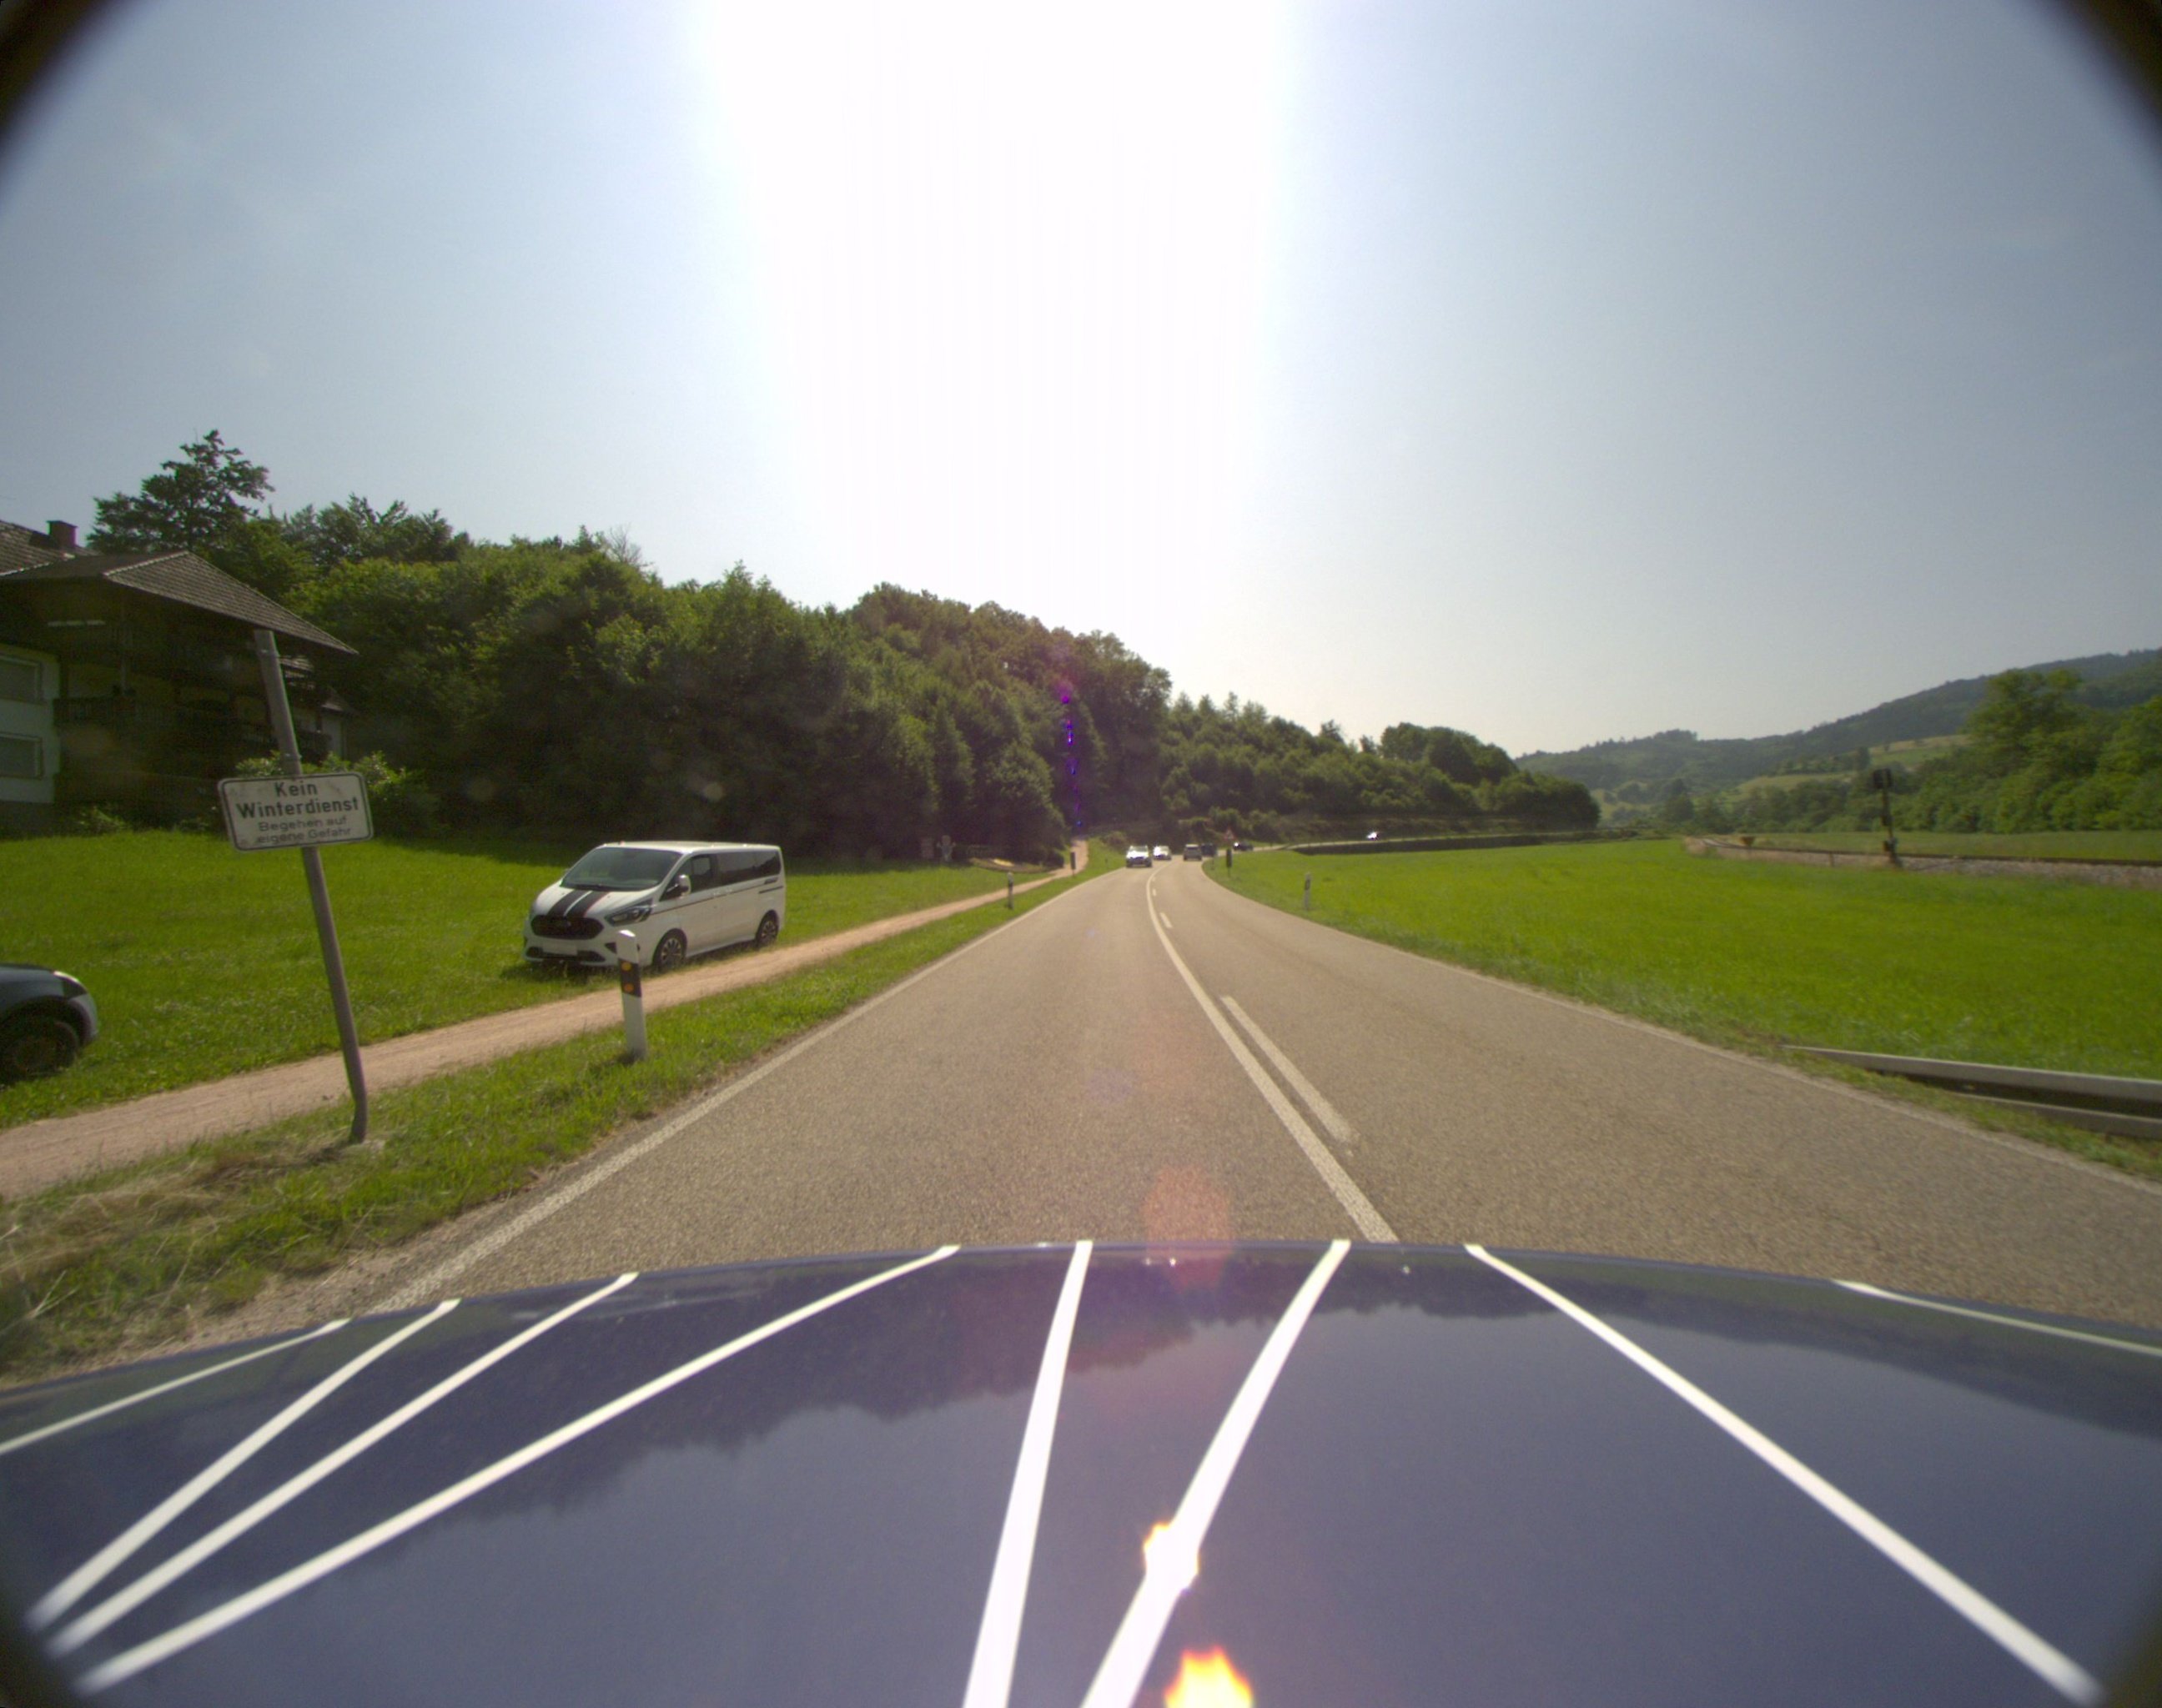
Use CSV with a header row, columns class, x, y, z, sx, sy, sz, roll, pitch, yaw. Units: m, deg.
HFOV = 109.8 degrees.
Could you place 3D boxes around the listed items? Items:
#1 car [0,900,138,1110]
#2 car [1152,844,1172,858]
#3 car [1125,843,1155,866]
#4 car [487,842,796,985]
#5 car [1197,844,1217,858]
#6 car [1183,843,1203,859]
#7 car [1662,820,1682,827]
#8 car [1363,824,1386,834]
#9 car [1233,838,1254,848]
class,x,y,z,sx,sy,sz,roll,pitch,yaw
car,-8.537,1.157,4.460,1.679,1.448,3.711,1,2,-9
car,8.784,-0.367,82.970,2.145,1.482,4.674,0,0,5
car,4.957,-0.003,63.240,2.116,1.804,4.458,-1,1,9
car,-6.950,0.795,12.835,2.003,1.838,4.870,4,1,5
car,15.907,-0.397,95.888,1.868,1.614,4.516,-1,0,17
car,11.905,-0.325,80.620,1.918,1.704,4.162,-1,0,10
car,144.751,-7.549,186.114,4.902,1.730,1.951,-1,2,-25
car,57.680,-4.900,149.281,4.005,2.002,1.996,-1,0,-25
car,24.979,-1.702,116.480,1.917,1.462,4.518,-1,1,28
